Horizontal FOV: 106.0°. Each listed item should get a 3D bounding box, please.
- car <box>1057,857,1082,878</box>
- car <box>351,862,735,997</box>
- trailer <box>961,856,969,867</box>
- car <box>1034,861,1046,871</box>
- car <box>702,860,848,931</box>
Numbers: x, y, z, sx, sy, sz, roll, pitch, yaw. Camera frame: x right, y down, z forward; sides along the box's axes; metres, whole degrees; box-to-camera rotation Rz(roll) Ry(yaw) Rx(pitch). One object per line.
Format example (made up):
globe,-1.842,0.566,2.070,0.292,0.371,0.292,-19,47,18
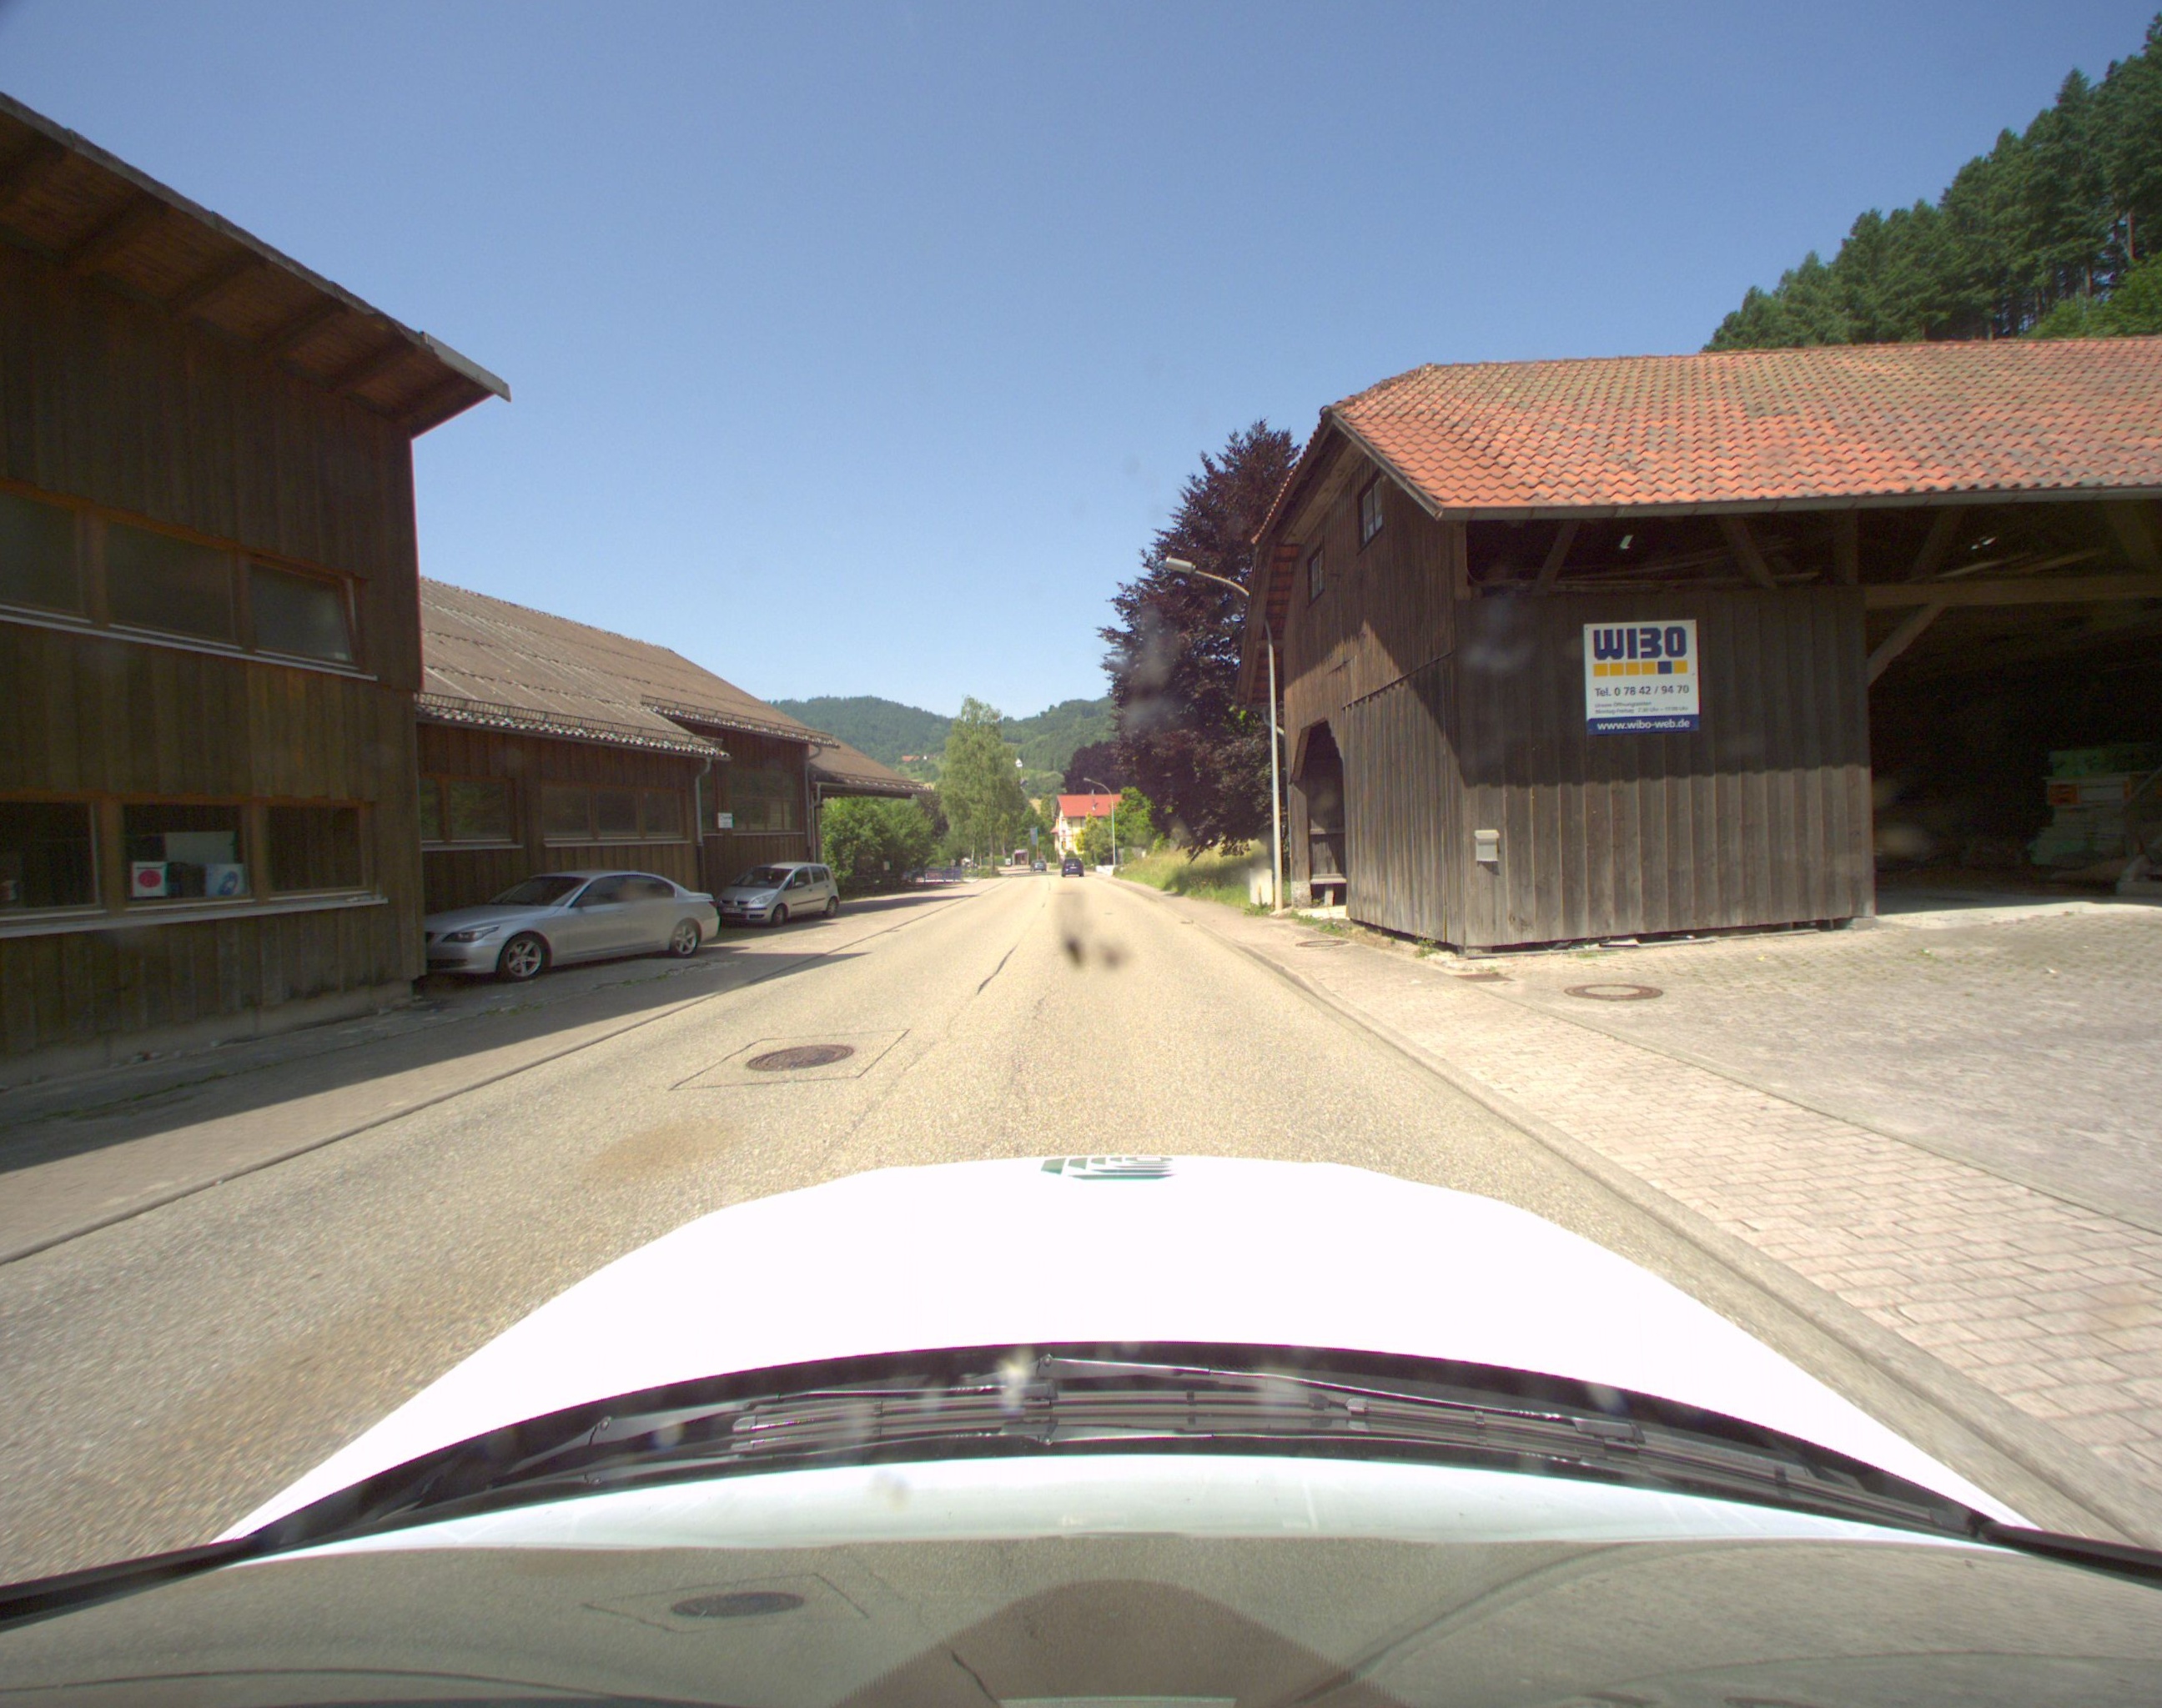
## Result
car,-0.996,1.133,70.443,1.916,1.698,3.783,-3,0,-4
car,-7.659,0.974,12.338,1.716,1.454,4.825,-3,1,16
trailer,-21.573,1.400,151.342,1.466,2.077,3.659,-3,0,-9
car,-5.260,1.563,105.392,1.473,1.209,2.381,-3,0,-3
car,-7.859,0.993,21.349,1.569,1.570,4.038,1,1,13
